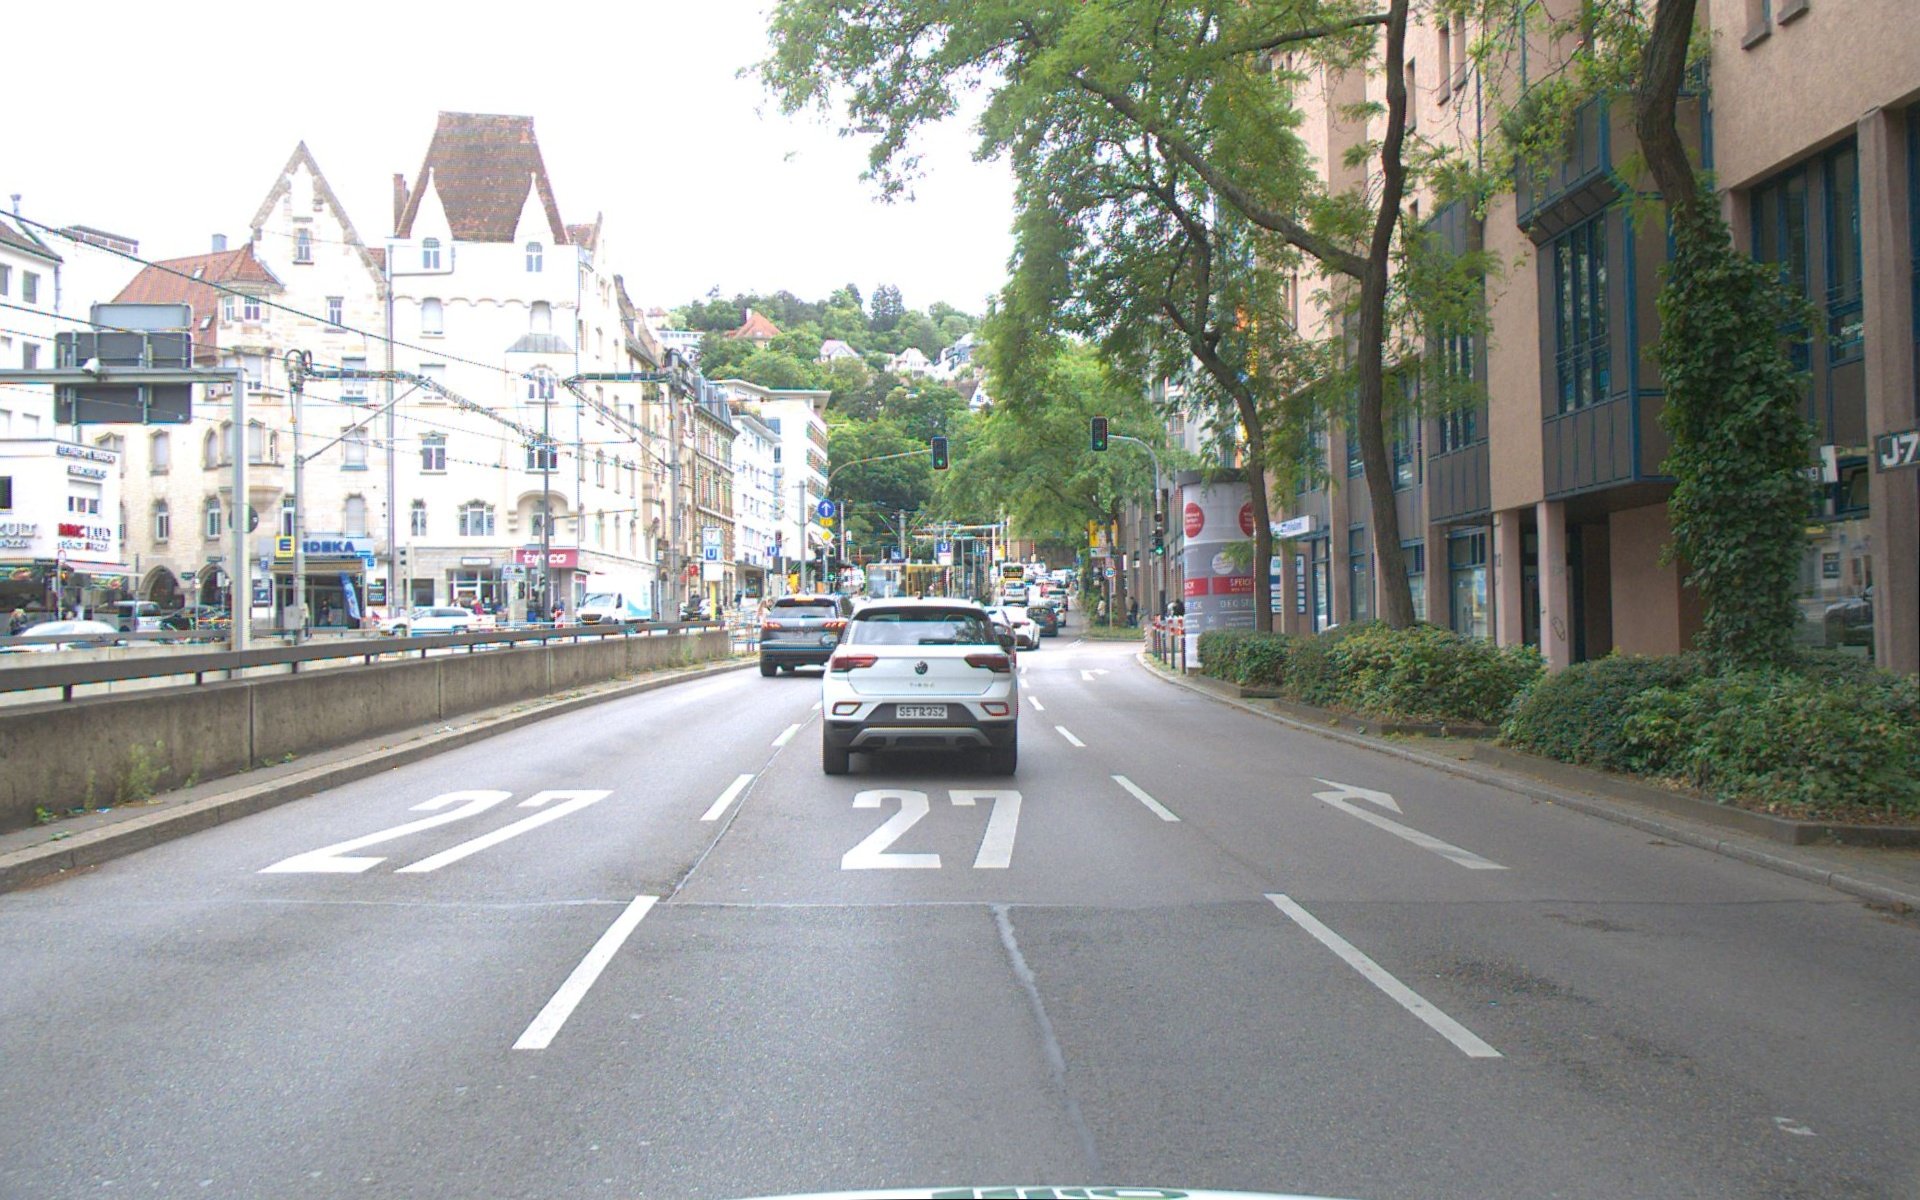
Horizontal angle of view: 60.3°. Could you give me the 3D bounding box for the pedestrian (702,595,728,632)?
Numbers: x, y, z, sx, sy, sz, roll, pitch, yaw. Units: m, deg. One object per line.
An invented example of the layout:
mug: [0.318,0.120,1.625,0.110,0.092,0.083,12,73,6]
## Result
pedestrian: [-11.651,0.656,78.654,0.859,1.735,0.810,-1,0,33]

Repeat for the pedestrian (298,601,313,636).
pedestrian: [-34.384,0.962,86.826,0.503,1.811,0.573,-1,0,44]

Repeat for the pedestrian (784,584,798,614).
pedestrian: [-9.902,-0.056,96.849,0.673,1.741,0.662,0,0,3]

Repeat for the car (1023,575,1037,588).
car: [8.812,-2.280,208.049,1.638,1.588,3.988,0,0,4]

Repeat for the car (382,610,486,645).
car: [-24.491,1.281,77.004,4.444,1.588,1.740,1,-1,-26]

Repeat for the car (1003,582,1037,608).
car: [4.852,-0.410,133.523,2.314,2.049,5.152,0,0,7]

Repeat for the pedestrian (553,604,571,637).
pedestrian: [-20.807,1.061,86.459,0.659,1.706,0.691,-1,0,21]

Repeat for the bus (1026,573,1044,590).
bus: [9.206,-2.250,202.560,1.953,2.049,3.999,1,0,-1]

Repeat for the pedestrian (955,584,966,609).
pedestrian: [0.017,-0.230,114.262,0.702,1.761,0.671,0,-1,5]

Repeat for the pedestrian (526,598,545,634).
pedestrian: [-21.642,0.808,84.305,0.694,1.811,0.596,-1,0,20]

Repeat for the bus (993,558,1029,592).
bus: [5.334,-2.521,169.823,3.301,3.118,13.330,0,0,3]

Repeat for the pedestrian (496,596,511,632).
pedestrian: [-22.995,0.698,83.296,0.563,1.811,0.512,0,0,9]

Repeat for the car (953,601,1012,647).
car: [1.087,1.085,75.978,2.315,2.049,5.151,0,0,5]

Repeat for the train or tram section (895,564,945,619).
train or tram section: [-2.638,-0.590,111.674,2.775,3.582,5.755,1,1,4]

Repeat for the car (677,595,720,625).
car: [-16.370,0.619,103.650,1.638,1.790,4.784,0,0,4]

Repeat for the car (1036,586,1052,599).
car: [8.212,-0.739,161.579,1.549,1.193,3.680,1,0,4]

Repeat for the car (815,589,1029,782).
car: [-0.414,0.734,16.039,1.801,1.611,4.154,1,0,-3]

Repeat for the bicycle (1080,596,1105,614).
bicycle: [8.905,0.314,111.438,1.586,1.147,0.614,-3,0,7]

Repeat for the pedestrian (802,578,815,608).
pedestrian: [-9.066,-0.399,98.848,0.613,1.793,0.847,0,0,5]

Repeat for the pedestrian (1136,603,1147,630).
pedestrian: [9.129,0.830,83.281,0.461,1.357,0.520,1,-1,0]

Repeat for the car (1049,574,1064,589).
car: [11.332,-2.161,194.044,1.638,1.588,3.680,0,0,4]

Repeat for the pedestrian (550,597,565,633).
pedestrian: [-20.666,0.768,84.902,0.499,1.811,0.577,-1,0,18]

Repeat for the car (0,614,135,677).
car: [-23.348,1.153,43.191,1.630,1.527,4.042,-1,0,-1]

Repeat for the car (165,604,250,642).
car: [-37.419,1.124,82.238,3.692,1.713,1.638,-2,0,18]

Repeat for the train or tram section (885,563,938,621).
train or tram section: [-3.085,-0.519,105.905,2.775,3.582,5.755,1,1,4]

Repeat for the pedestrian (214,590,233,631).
pedestrian: [-32.570,0.476,73.158,0.564,1.811,0.510,-1,0,30]

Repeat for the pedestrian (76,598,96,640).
pedestrian: [-37.979,0.825,71.900,0.499,1.811,0.599,-1,0,16]

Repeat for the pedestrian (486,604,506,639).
pedestrian: [-24.036,1.112,85.681,0.774,1.811,0.665,-1,0,35]

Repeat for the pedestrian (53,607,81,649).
pedestrian: [-37.309,1.154,69.119,0.765,1.735,0.654,0,0,9]

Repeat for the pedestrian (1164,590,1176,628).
pedestrian: [10.220,0.448,80.485,0.508,1.820,0.764,1,-1,0]

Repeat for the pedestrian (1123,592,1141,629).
pedestrian: [8.759,0.544,84.226,0.706,1.834,0.834,-3,2,0]

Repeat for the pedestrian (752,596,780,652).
pedestrian: [-6.056,0.751,51.698,0.748,1.751,0.638,0,0,3]

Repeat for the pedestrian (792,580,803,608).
pedestrian: [-9.920,-0.370,101.036,0.623,1.741,0.689,-1,0,-5]

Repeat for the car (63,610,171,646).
car: [-39.530,1.296,77.595,4.403,1.588,1.756,0,0,13]

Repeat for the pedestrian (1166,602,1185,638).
pedestrian: [10.152,0.945,77.876,0.746,1.640,0.619,-2,2,15]

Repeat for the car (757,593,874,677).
car: [-2.986,0.709,34.937,1.952,1.664,4.001,0,0,2]

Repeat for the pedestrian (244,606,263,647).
pedestrian: [-30.949,1.159,72.451,0.499,1.811,0.577,-1,0,16]

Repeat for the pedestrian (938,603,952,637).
pedestrian: [-0.775,1.021,84.698,0.622,1.741,0.872,0,0,4]

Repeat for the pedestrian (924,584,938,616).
pedestrian: [-1.567,0.003,90.069,0.671,1.741,0.712,0,0,3]

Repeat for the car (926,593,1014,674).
car: [0.245,0.719,37.173,1.846,1.713,4.161,1,0,1]

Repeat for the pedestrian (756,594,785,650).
pedestrian: [-6.012,0.697,52.391,0.775,1.751,0.773,0,0,3]

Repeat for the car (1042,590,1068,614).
car: [7.077,0.143,123.181,1.845,1.713,4.163,0,0,4]

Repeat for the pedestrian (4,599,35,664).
pedestrian: [-26.169,0.868,46.044,0.499,1.811,0.577,0,0,6]

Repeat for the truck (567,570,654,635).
truck: [-17.822,0.146,84.823,2.218,3.130,7.379,0,0,6]

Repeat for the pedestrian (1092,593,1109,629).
pedestrian: [7.258,0.550,85.577,0.679,1.808,0.689,-5,0,0]

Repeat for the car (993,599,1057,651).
car: [2.205,0.844,57.048,1.847,1.713,4.159,1,0,-3]

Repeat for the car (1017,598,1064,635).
car: [4.550,0.926,94.204,2.317,2.049,5.146,1,0,-1]

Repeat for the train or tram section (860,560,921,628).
train or tram section: [-3.923,-0.379,94.407,2.775,3.743,5.755,1,1,4]

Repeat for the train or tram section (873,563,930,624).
train or tram section: [-3.507,-0.415,100.162,2.775,3.582,5.755,1,1,4]
